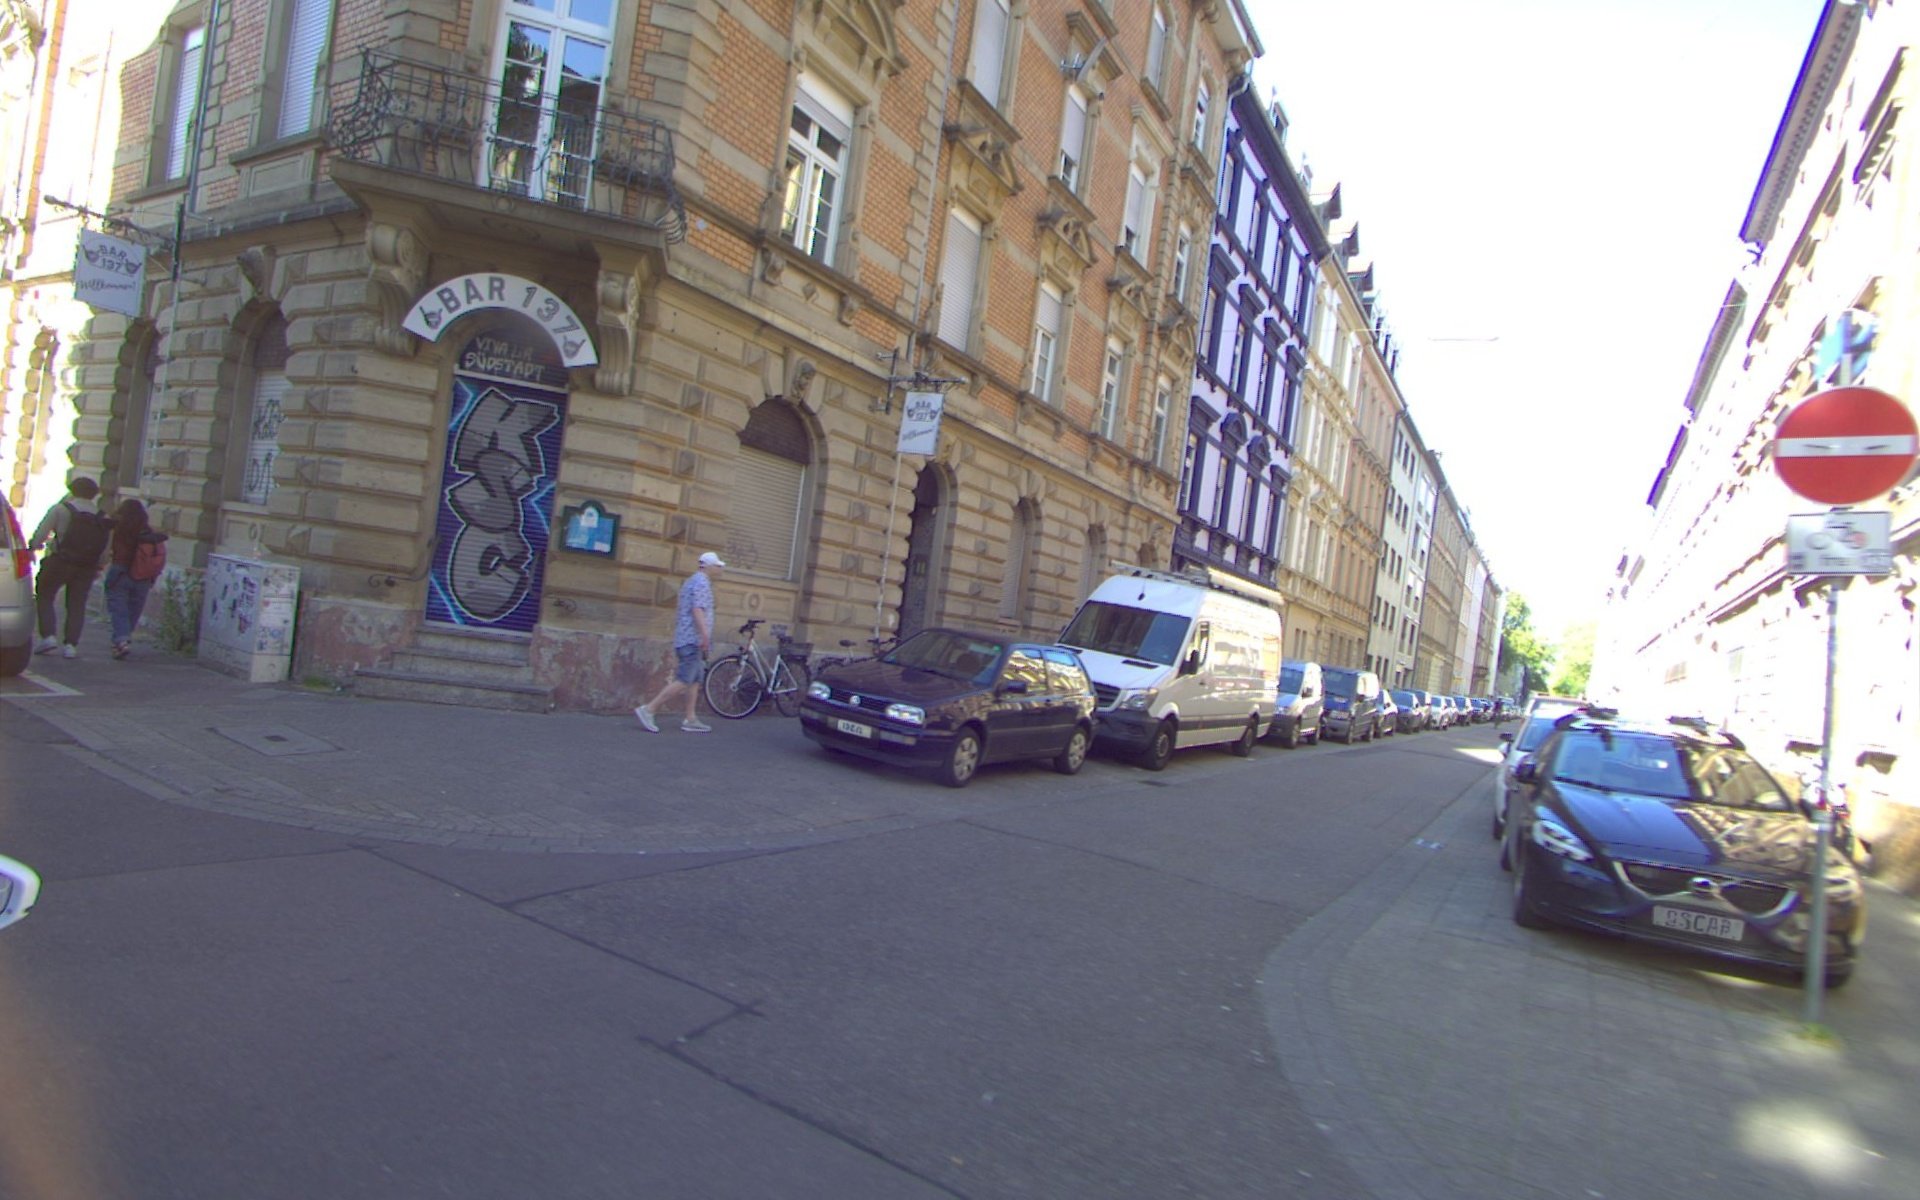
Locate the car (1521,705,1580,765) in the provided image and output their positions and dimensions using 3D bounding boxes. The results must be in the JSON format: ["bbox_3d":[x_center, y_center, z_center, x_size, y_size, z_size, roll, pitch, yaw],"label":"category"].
[{"bbox_3d":[20.929,4.745,35.635,1.512,1.770,4.052,7,-2,32],"label":"car"}]

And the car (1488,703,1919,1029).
[{"bbox_3d":[5.172,1.650,7.652,1.738,1.487,4.254,6,-2,26],"label":"car"}]

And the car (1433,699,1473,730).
[{"bbox_3d":[27.845,6.464,56.723,1.574,1.442,3.740,7,-2,31],"label":"car"}]

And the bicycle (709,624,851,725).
[{"bbox_3d":[-2.117,0.921,12.101,0.525,1.066,1.779,7,-2,31],"label":"bicycle"}]

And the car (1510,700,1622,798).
[{"bbox_3d":[12.815,3.089,21.322,1.706,1.600,3.995,7,-2,32],"label":"car"}]

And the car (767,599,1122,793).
[{"bbox_3d":[0.049,1.028,10.659,1.705,1.468,3.988,8,-2,33],"label":"car"}]

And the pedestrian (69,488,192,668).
[{"bbox_3d":[-8.146,-0.209,9.883,0.722,1.641,0.575,8,1,30],"label":"pedestrian"}]

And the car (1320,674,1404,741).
[{"bbox_3d":[12.539,3.340,31.222,1.671,1.720,3.995,7,-2,31],"label":"car"}]

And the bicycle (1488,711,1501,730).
[{"bbox_3d":[31.312,7.049,58.910,0.524,1.066,1.780,7,-2,30],"label":"bicycle"}]

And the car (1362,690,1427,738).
[{"bbox_3d":[15.812,4.119,36.510,1.574,1.405,3.995,7,-2,31],"label":"car"}]

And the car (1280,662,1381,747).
[{"bbox_3d":[9.733,2.726,26.243,1.573,1.854,4.101,7,-2,31],"label":"car"}]

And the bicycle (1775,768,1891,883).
[{"bbox_3d":[10.207,2.591,11.825,0.620,1.072,1.881,5,-3,31],"label":"bicycle"}]

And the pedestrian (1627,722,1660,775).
[{"bbox_3d":[22.254,4.822,32.754,0.699,1.585,0.722,7,-1,32],"label":"pedestrian"}]

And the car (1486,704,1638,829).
[{"bbox_3d":[9.632,2.570,16.146,1.706,1.486,3.995,7,-2,32],"label":"car"}]

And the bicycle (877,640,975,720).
[{"bbox_3d":[-0.480,1.212,15.052,0.525,1.066,1.780,7,-2,29],"label":"bicycle"}]

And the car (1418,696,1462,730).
[{"bbox_3d":[25.175,5.921,52.736,1.574,1.442,3.740,7,-2,31],"label":"car"}]

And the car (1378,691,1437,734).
[{"bbox_3d":[17.890,4.490,40.155,1.574,1.405,3.763,7,-2,31],"label":"car"}]

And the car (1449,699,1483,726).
[{"bbox_3d":[33.002,7.332,65.551,1.574,1.442,3.740,7,-2,31],"label":"car"}]

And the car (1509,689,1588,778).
[{"bbox_3d":[15.778,3.539,26.953,1.512,1.995,4.024,7,-2,32],"label":"car"}]

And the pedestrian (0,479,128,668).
[{"bbox_3d":[-8.296,-0.239,9.289,0.715,1.623,0.592,8,1,30],"label":"pedestrian"}]

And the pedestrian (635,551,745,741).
[{"bbox_3d":[-2.644,0.452,9.841,0.658,1.754,0.569,7,1,-39],"label":"pedestrian"}]

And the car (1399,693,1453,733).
[{"bbox_3d":[20.429,4.962,44.025,1.574,1.442,3.865,7,-2,31],"label":"car"}]

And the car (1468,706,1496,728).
[{"bbox_3d":[40.799,9.126,78.624,1.574,1.442,3.740,7,-2,31],"label":"car"}]

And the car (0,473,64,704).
[{"bbox_3d":[-9.132,-0.338,8.031,3.871,1.734,1.707,7,-1,30],"label":"car"}]

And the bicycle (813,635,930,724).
[{"bbox_3d":[-1.169,1.099,13.658,0.525,1.066,1.779,7,-2,31],"label":"bicycle"}]

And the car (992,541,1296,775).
[{"bbox_3d":[3.246,1.042,15.776,2.032,2.681,6.823,10,-1,32],"label":"car"}]

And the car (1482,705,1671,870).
[{"bbox_3d":[7.305,2.070,12.043,1.564,1.455,3.994,4,-3,31],"label":"car"}]

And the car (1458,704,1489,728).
[{"bbox_3d":[36.444,8.236,71.312,1.574,1.442,3.740,7,-2,31],"label":"car"}]

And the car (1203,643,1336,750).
[{"bbox_3d":[6.739,2.101,21.584,1.691,1.819,4.409,9,-2,29],"label":"car"}]

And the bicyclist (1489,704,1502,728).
[{"bbox_3d":[31.388,6.813,58.991,0.509,1.342,0.638,7,-1,30],"label":"bicyclist"}]
